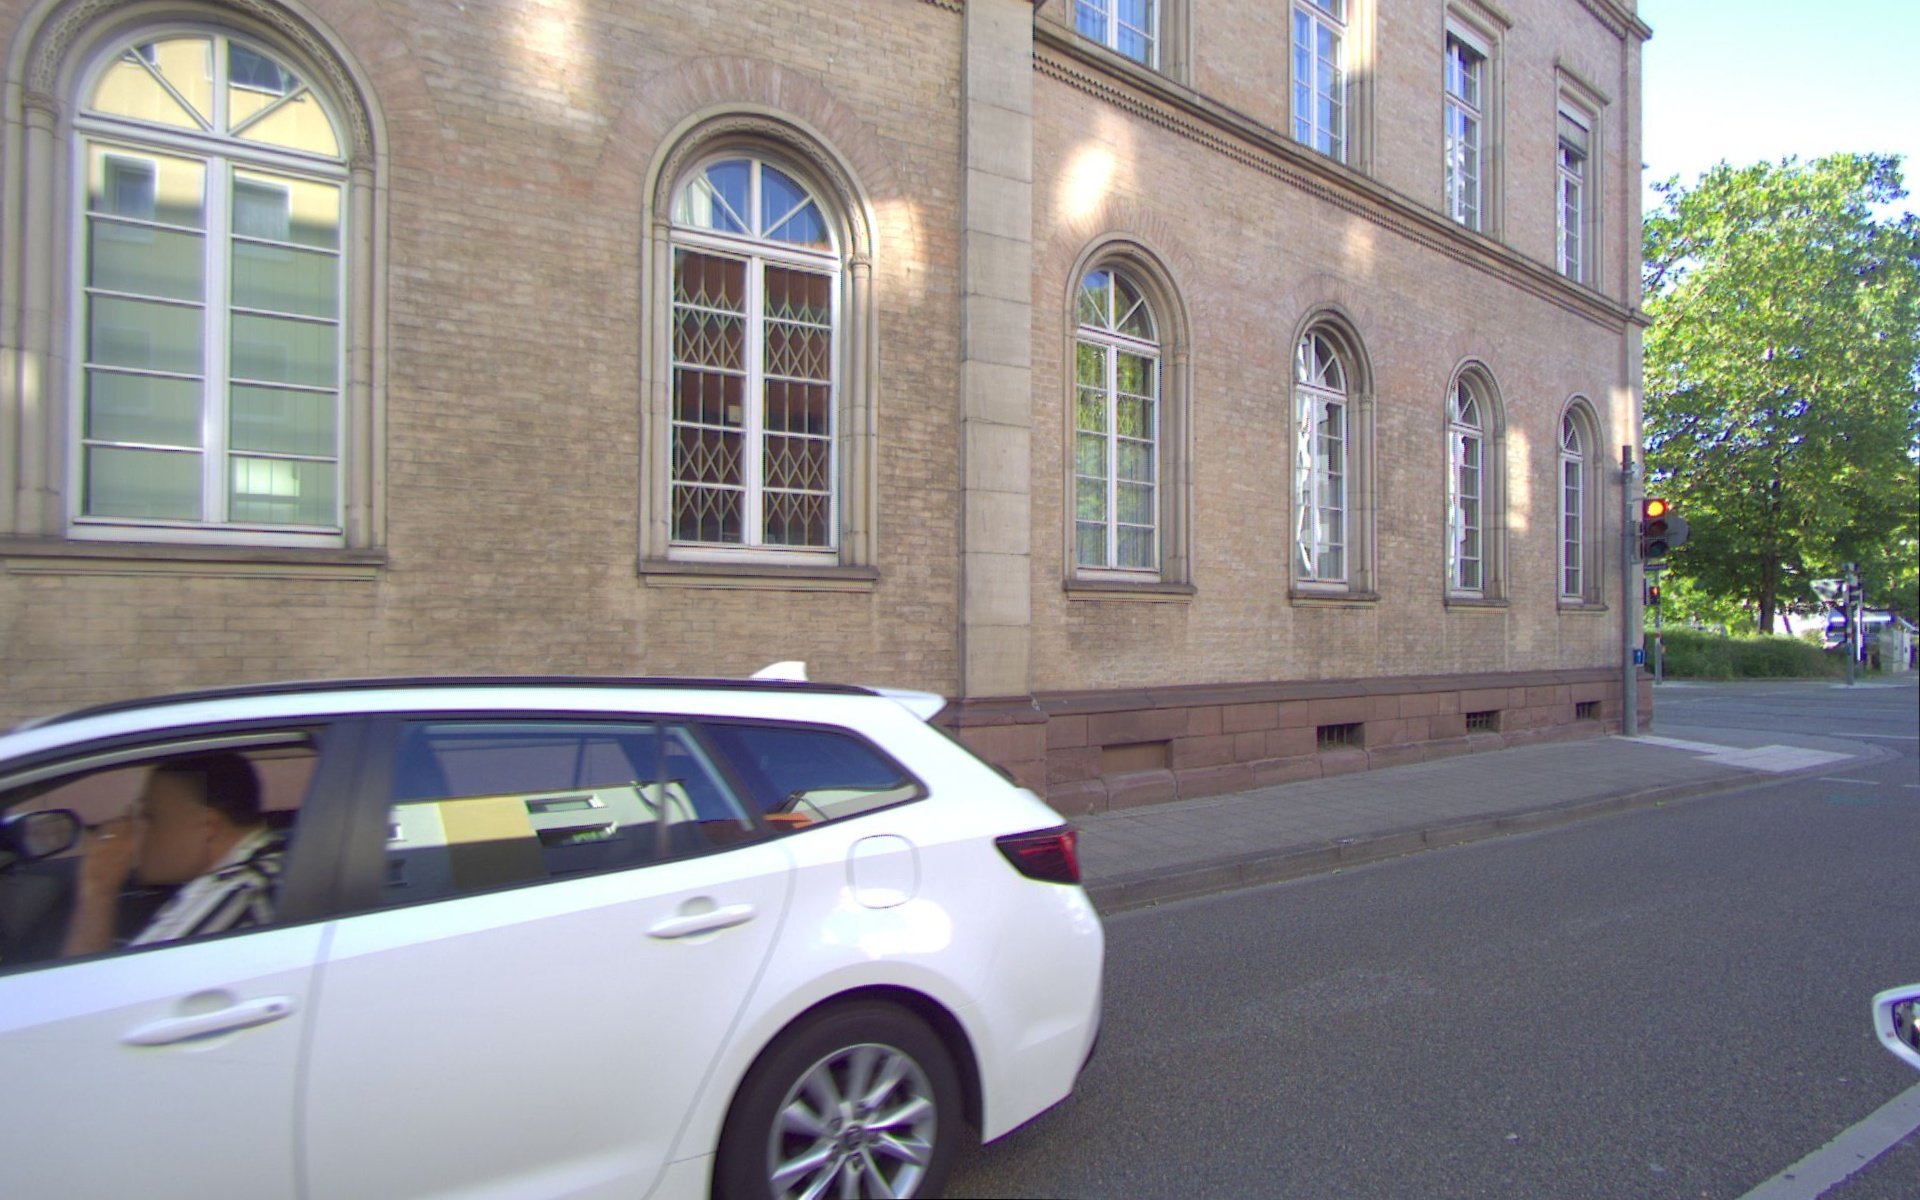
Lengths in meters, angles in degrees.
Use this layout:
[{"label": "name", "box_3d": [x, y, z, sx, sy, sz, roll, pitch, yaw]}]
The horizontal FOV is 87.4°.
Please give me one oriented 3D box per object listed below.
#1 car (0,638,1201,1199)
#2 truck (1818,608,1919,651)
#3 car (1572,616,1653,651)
[{"label": "car", "box_3d": [-1.719, 0.870, 2.611, 4.490, 1.495, 1.879, 1, -4, -30]}, {"label": "truck", "box_3d": [53.748, 1.680, 59.054, 2.069, 2.431, 4.790, 1, -1, -39]}, {"label": "car", "box_3d": [47.822, 2.491, 73.707, 2.056, 2.423, 4.521, 2, -3, -38]}]
